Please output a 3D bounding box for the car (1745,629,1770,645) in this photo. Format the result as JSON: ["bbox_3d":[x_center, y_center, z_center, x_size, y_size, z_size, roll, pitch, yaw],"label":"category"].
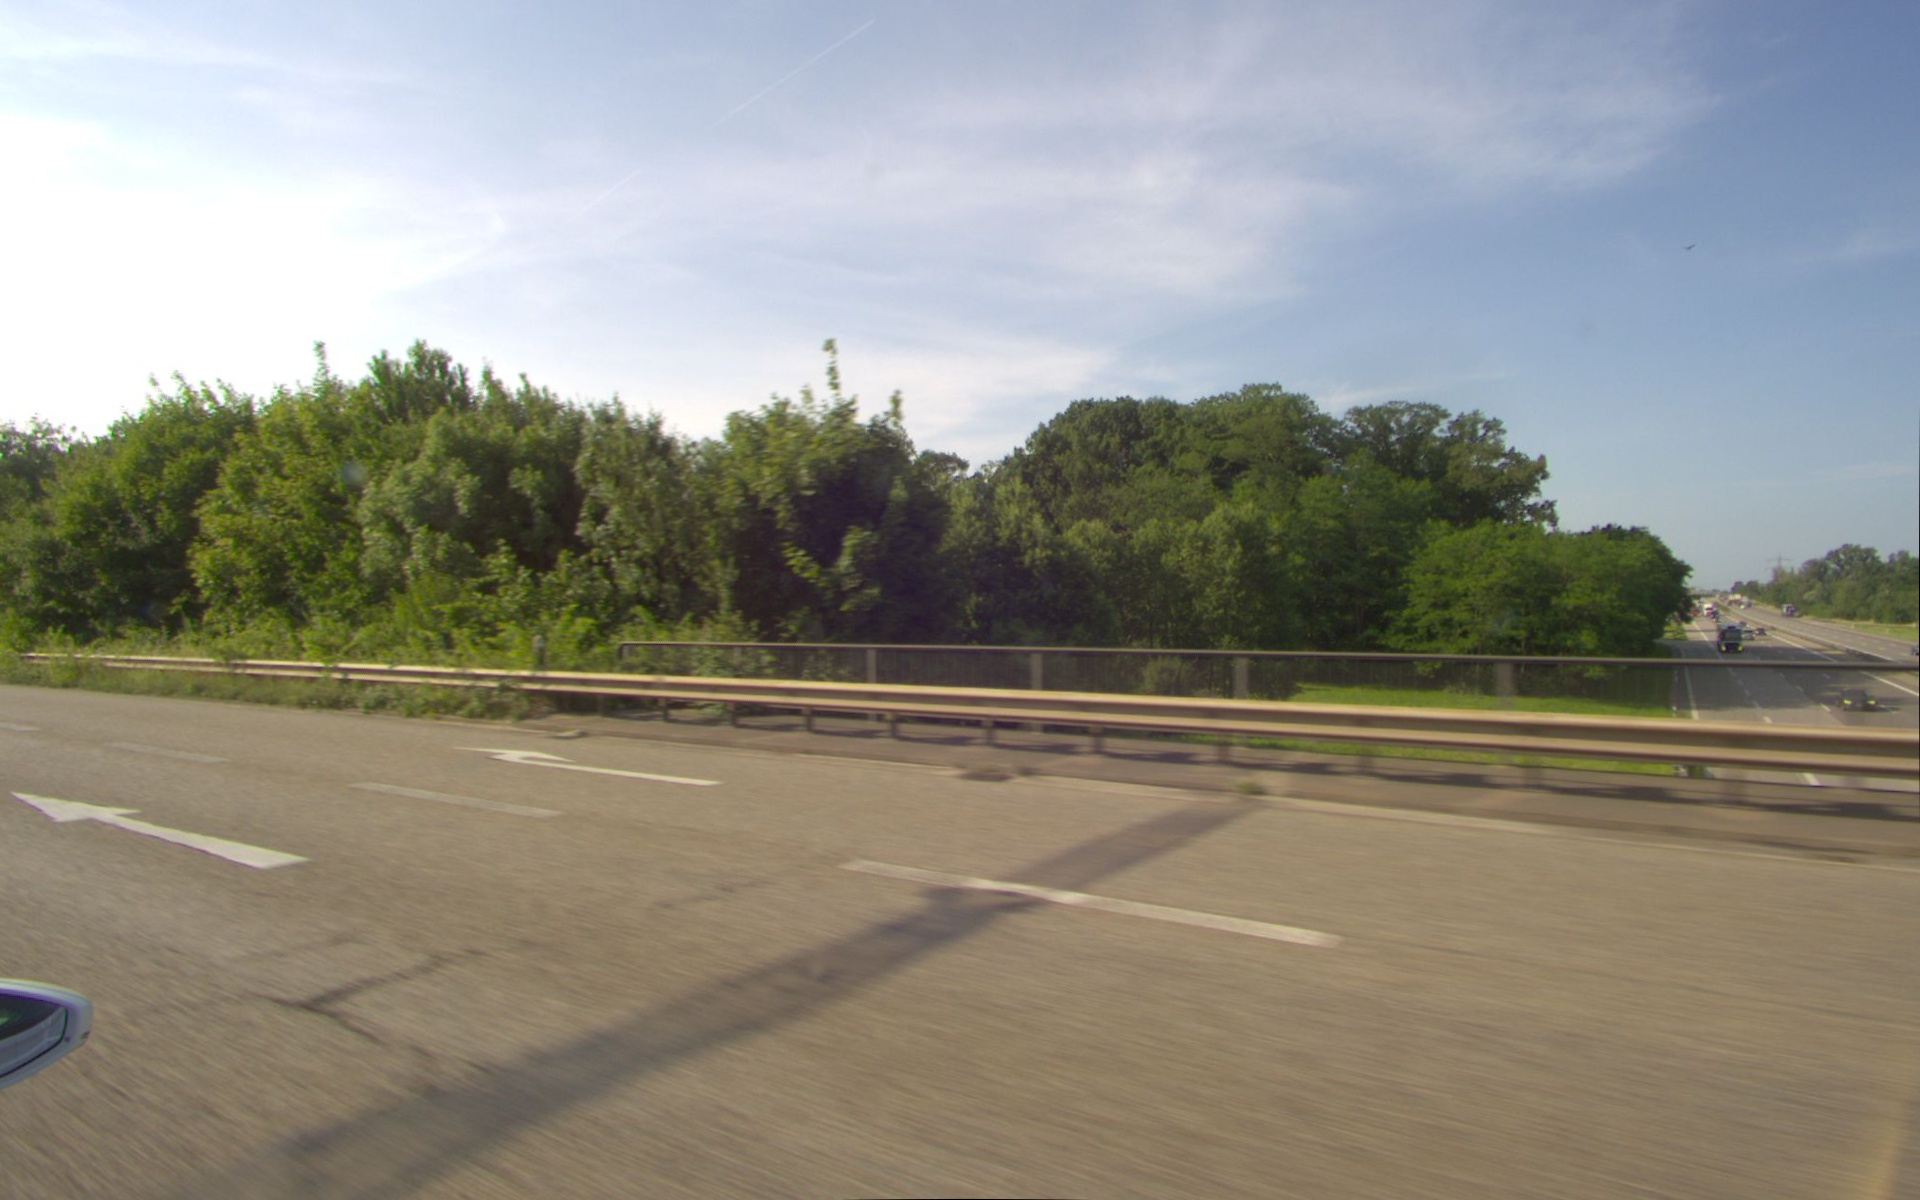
[{"bbox_3d":[162.677,7.530,204.290,2.982,3.266,7.483,-1,-2,31],"label":"car"}]

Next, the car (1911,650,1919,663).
[{"bbox_3d":[129.905,7.610,134.436,2.360,1.684,5.104,-1,-2,35],"label":"car"}]

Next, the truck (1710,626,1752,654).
[{"bbox_3d":[112.533,5.864,146.258,3.590,3.898,11.689,-1,-2,31],"label":"truck"}]
